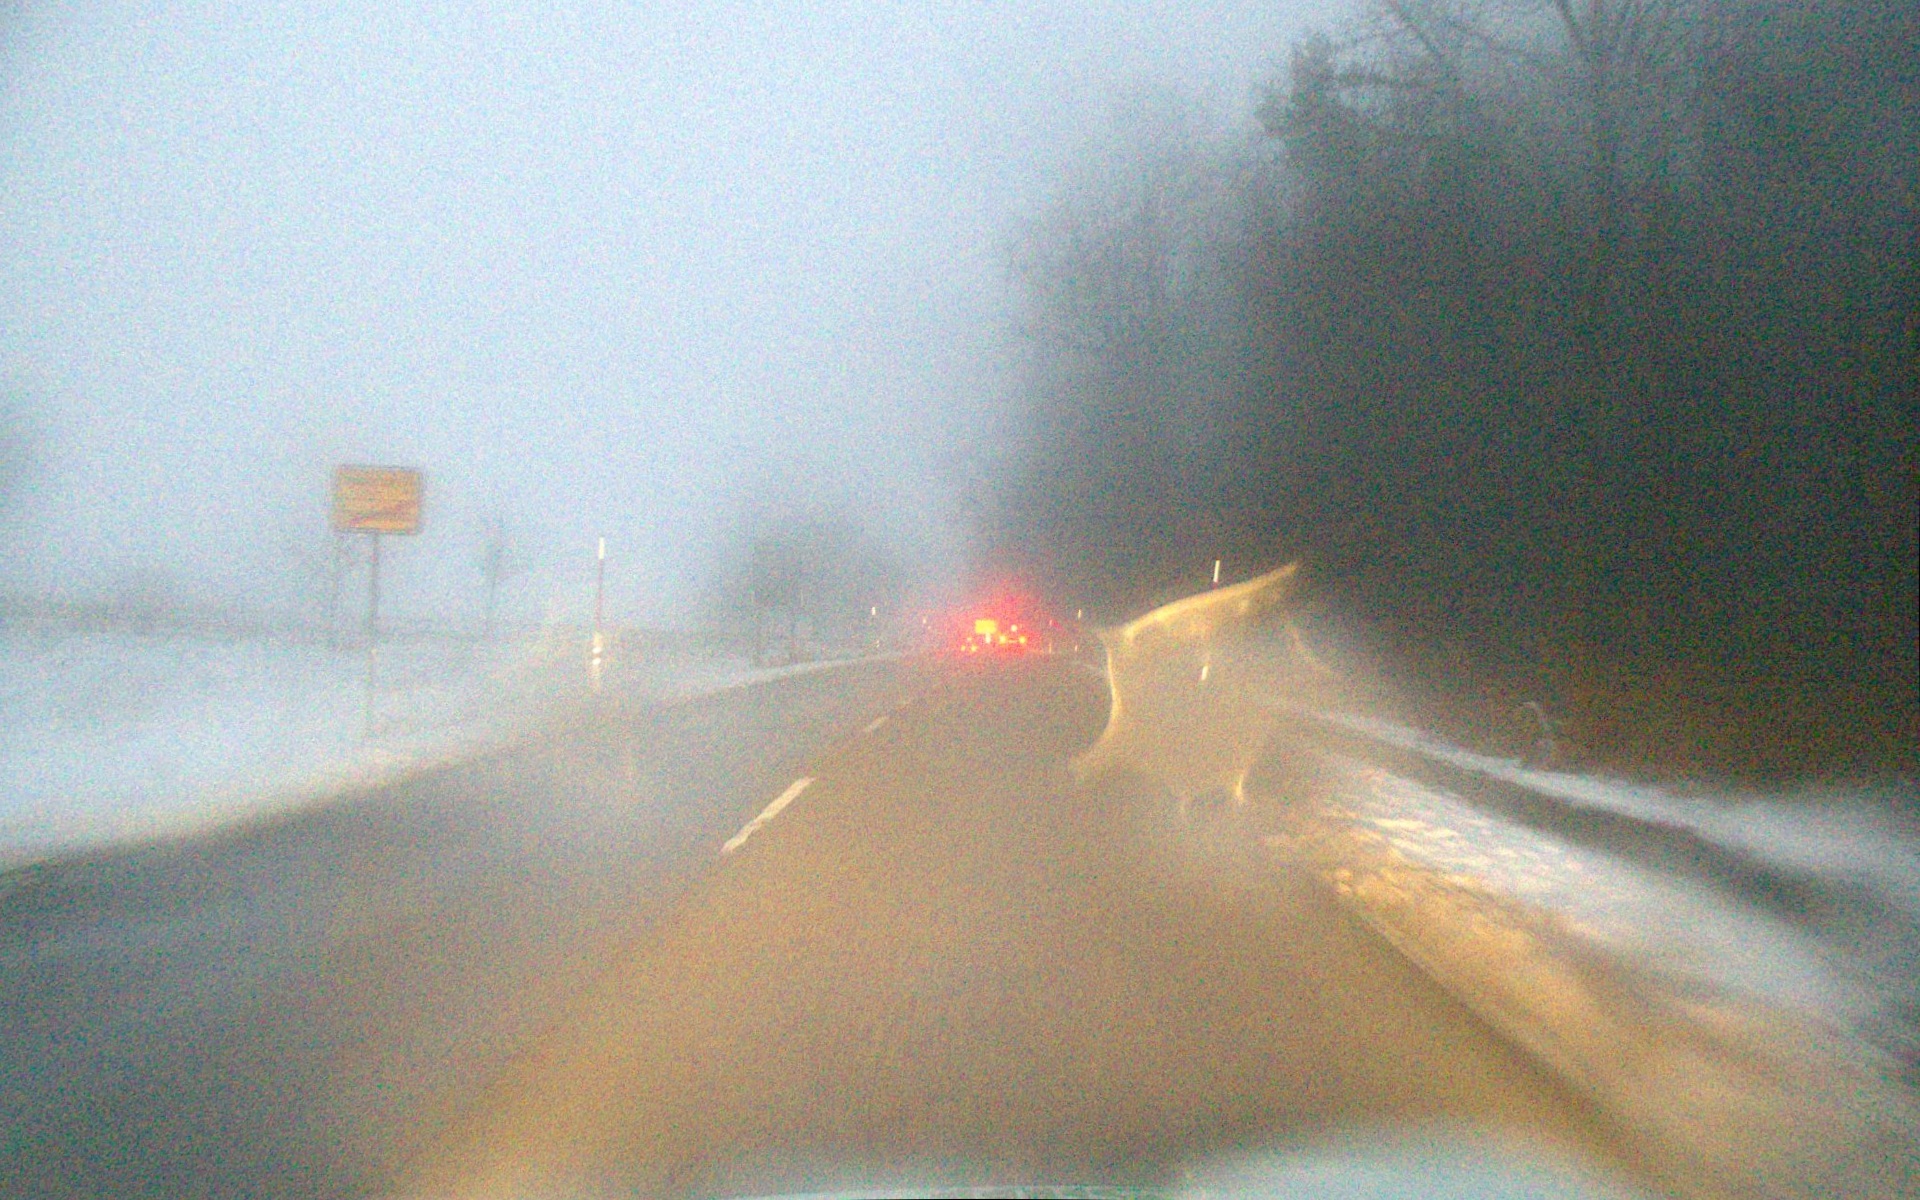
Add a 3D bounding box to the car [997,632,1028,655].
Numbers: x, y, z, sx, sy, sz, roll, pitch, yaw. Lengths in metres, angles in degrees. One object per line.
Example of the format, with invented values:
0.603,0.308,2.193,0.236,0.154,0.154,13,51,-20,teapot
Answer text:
3.421,2.819,108.176,1.952,1.445,4.000,0,-1,0,car
